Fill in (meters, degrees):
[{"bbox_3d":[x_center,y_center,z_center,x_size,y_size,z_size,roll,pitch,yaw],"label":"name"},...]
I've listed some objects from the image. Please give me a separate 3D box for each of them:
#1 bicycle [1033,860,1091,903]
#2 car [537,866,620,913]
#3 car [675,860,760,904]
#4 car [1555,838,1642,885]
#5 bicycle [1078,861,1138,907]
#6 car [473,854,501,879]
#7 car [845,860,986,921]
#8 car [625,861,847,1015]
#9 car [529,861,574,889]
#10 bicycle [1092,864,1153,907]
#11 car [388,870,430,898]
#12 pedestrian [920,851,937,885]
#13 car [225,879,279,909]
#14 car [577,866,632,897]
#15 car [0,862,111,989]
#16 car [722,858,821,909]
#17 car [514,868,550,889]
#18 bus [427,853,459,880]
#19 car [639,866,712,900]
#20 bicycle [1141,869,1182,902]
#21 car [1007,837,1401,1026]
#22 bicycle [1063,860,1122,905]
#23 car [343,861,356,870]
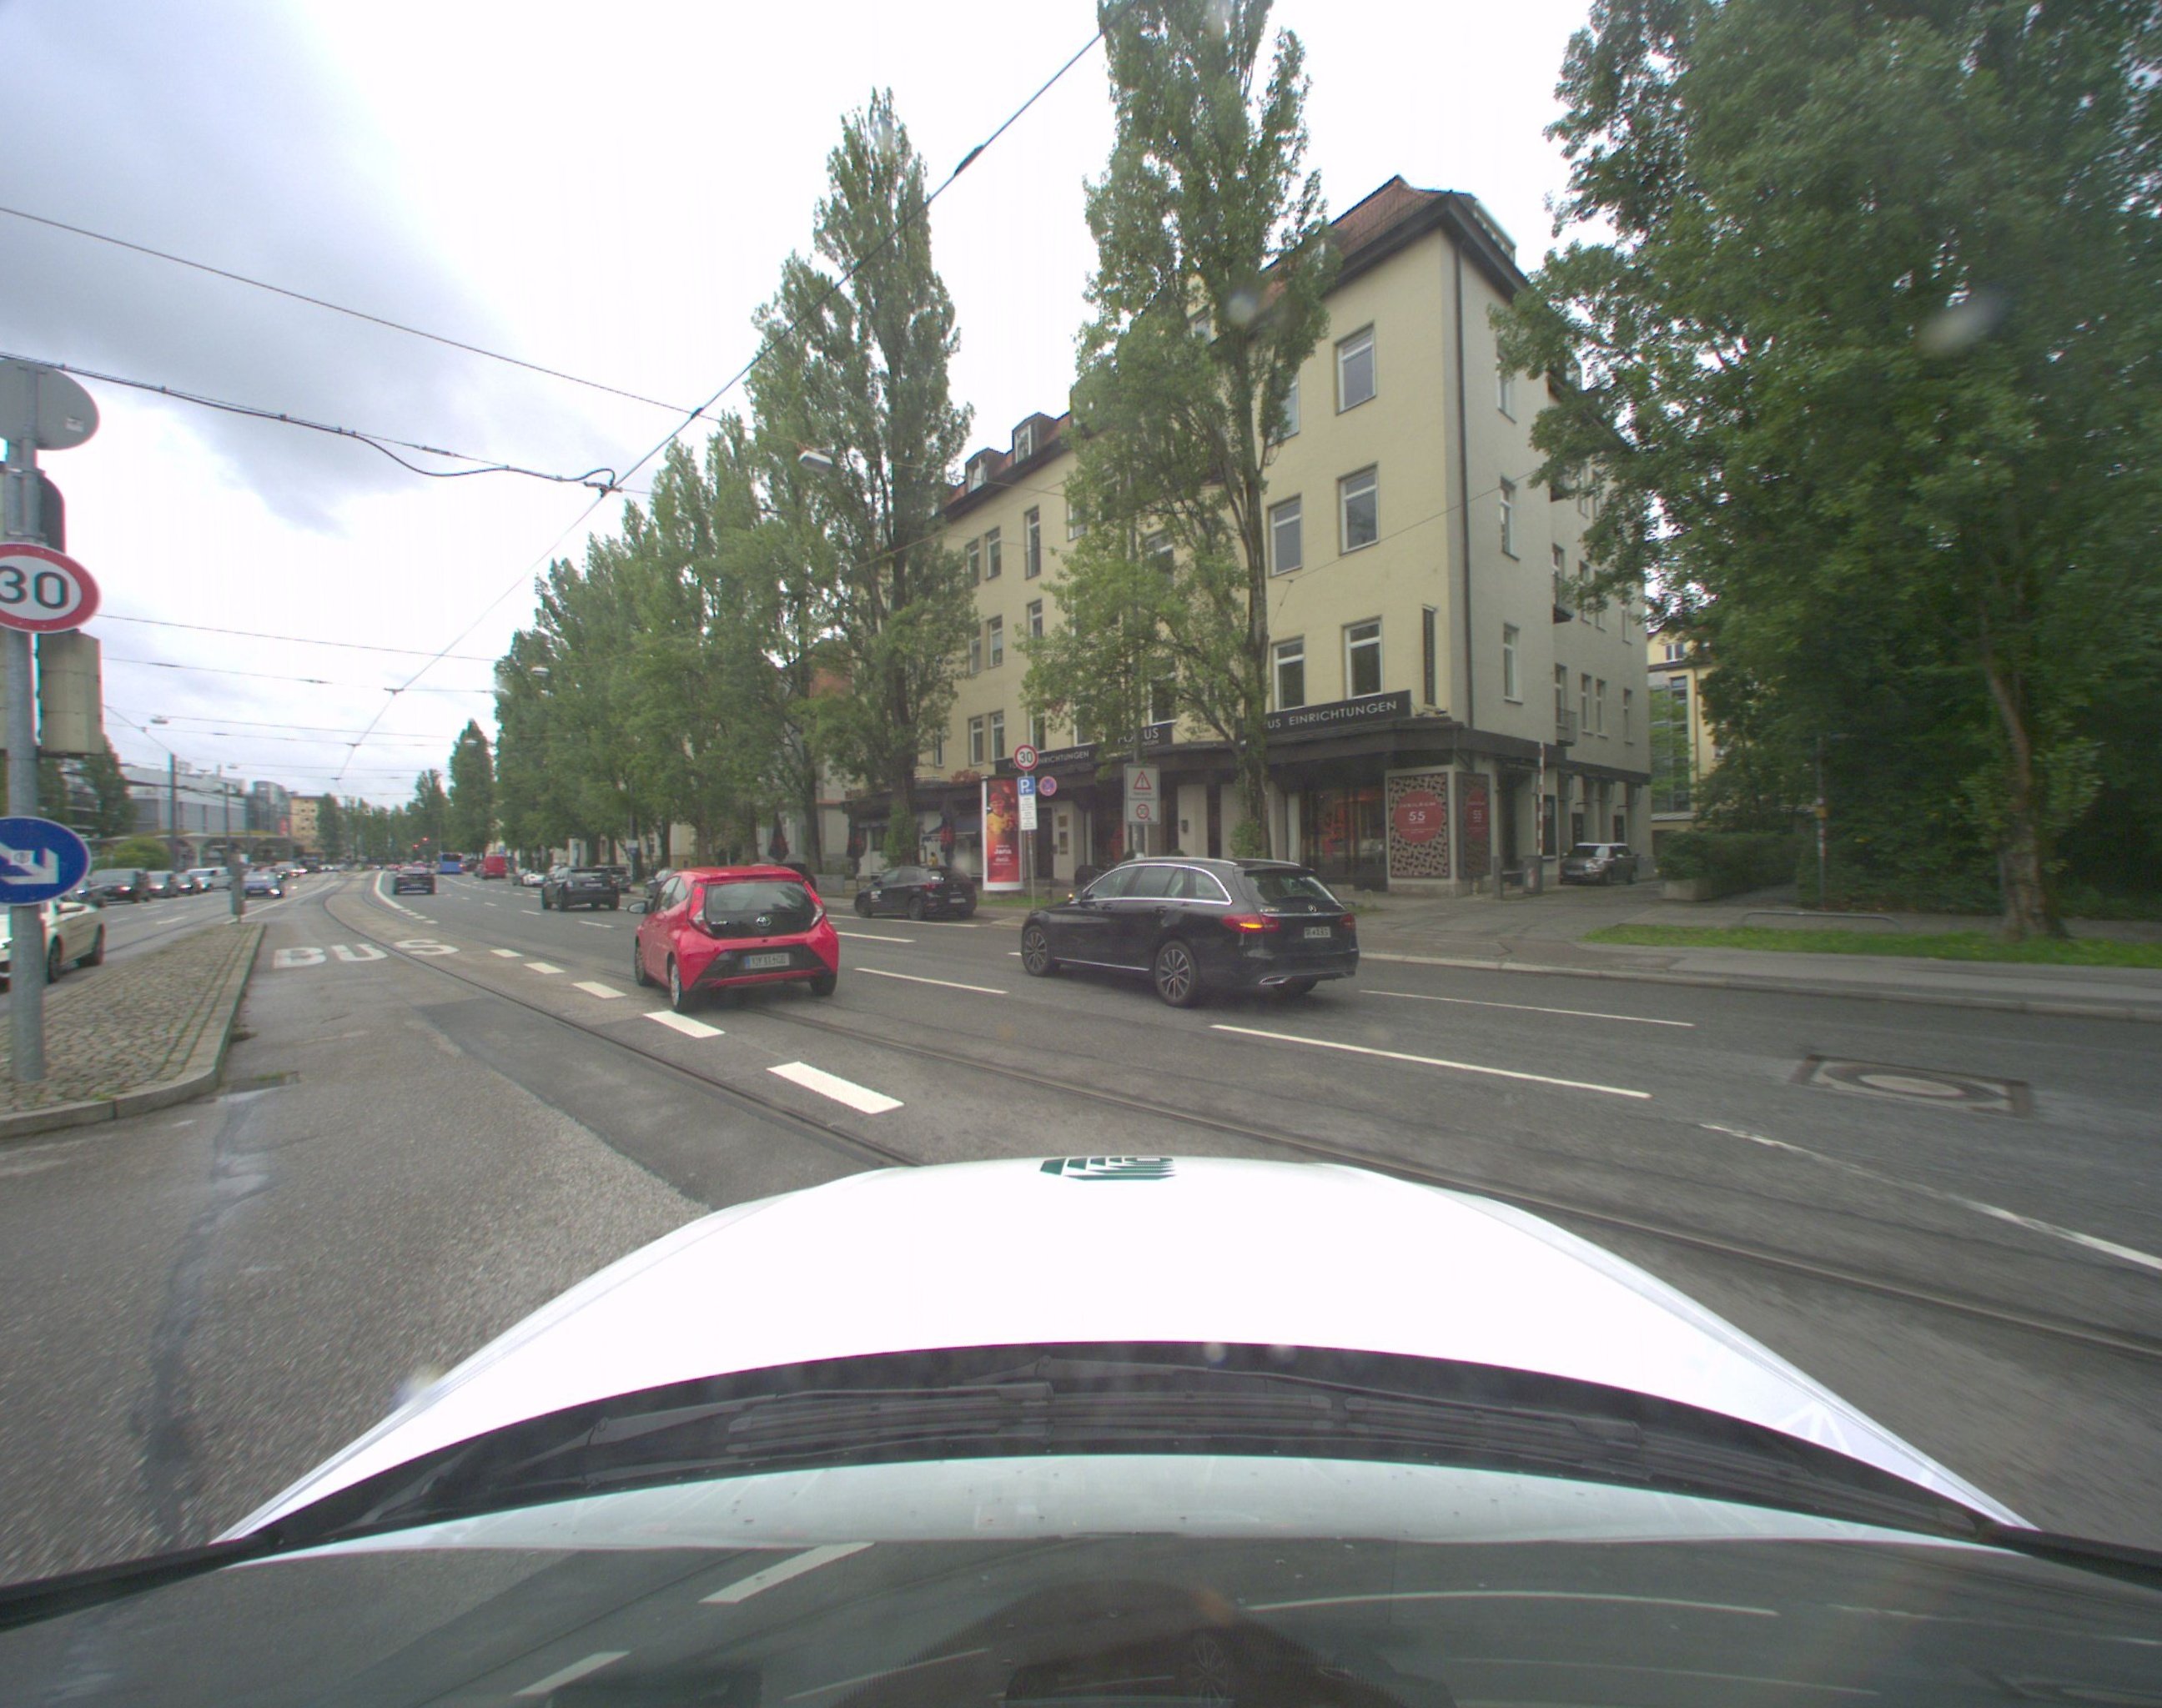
[{"bbox_3d":[-0.542,0.805,24.201,0.490,1.185,1.900,-1,0,44],"label":"bicycle"},{"bbox_3d":[-17.651,1.196,28.539,1.796,1.486,3.952,-1,0,-42],"label":"car"},{"bbox_3d":[-14.659,1.092,32.743,1.815,1.612,4.253,-2,0,-43],"label":"car"},{"bbox_3d":[17.672,0.217,27.723,1.709,1.442,4.024,-1,0,44],"label":"car"},{"bbox_3d":[0.764,0.817,22.631,0.490,1.185,1.900,-1,0,44],"label":"bicycle"},{"bbox_3d":[-65.500,1.375,89.801,2.011,2.574,4.624,-1,1,-42],"label":"car"},{"bbox_3d":[-4.564,0.938,22.163,3.950,1.466,1.816,-1,0,44],"label":"car"},{"bbox_3d":[-4.151,0.821,9.524,1.641,1.440,3.339,0,-1,-37],"label":"car"},{"bbox_3d":[-36.556,1.425,56.220,1.815,1.742,4.643,-2,0,-43],"label":"car"},{"bbox_3d":[1.152,0.833,22.280,0.490,1.081,1.900,-1,0,44],"label":"bicycle"},{"bbox_3d":[-40.821,1.784,49.432,1.751,1.549,4.521,-2,0,-42],"label":"car"},{"bbox_3d":[-7.012,0.633,37.420,0.578,1.562,0.490,0,1,-42],"label":"pedestrian"},{"bbox_3d":[-46.760,2.235,46.022,1.815,1.522,4.302,-2,0,-42],"label":"car"},{"bbox_3d":[-27.416,1.559,46.801,1.815,1.612,4.491,-2,0,-43],"label":"car"},{"bbox_3d":[-16.173,0.988,12.009,1.838,1.638,4.831,-2,0,-43],"label":"car"},{"bbox_3d":[-10.982,1.004,28.723,1.736,1.612,4.416,-2,0,-43],"label":"car"},{"bbox_3d":[-43.079,1.892,63.863,1.815,1.508,3.952,-1,0,-42],"label":"car"},{"bbox_3d":[-91.291,1.685,116.419,2.931,3.396,10.677,-1,1,-41],"label":"bus"},{"bbox_3d":[-18.561,1.294,37.185,1.815,1.398,4.328,-2,0,-43],"label":"car"},{"bbox_3d":[2.339,0.898,23.564,0.384,0.883,1.379,-1,0,45],"label":"bicycle"},{"bbox_3d":[1.041,0.624,9.265,1.876,1.549,4.657,-2,1,-31],"label":"car"},{"bbox_3d":[0.354,0.804,23.198,0.490,1.185,1.900,-1,0,44],"label":"bicycle"},{"bbox_3d":[-136.525,2.173,152.055,1.796,1.486,3.952,-1,0,-42],"label":"car"}]
